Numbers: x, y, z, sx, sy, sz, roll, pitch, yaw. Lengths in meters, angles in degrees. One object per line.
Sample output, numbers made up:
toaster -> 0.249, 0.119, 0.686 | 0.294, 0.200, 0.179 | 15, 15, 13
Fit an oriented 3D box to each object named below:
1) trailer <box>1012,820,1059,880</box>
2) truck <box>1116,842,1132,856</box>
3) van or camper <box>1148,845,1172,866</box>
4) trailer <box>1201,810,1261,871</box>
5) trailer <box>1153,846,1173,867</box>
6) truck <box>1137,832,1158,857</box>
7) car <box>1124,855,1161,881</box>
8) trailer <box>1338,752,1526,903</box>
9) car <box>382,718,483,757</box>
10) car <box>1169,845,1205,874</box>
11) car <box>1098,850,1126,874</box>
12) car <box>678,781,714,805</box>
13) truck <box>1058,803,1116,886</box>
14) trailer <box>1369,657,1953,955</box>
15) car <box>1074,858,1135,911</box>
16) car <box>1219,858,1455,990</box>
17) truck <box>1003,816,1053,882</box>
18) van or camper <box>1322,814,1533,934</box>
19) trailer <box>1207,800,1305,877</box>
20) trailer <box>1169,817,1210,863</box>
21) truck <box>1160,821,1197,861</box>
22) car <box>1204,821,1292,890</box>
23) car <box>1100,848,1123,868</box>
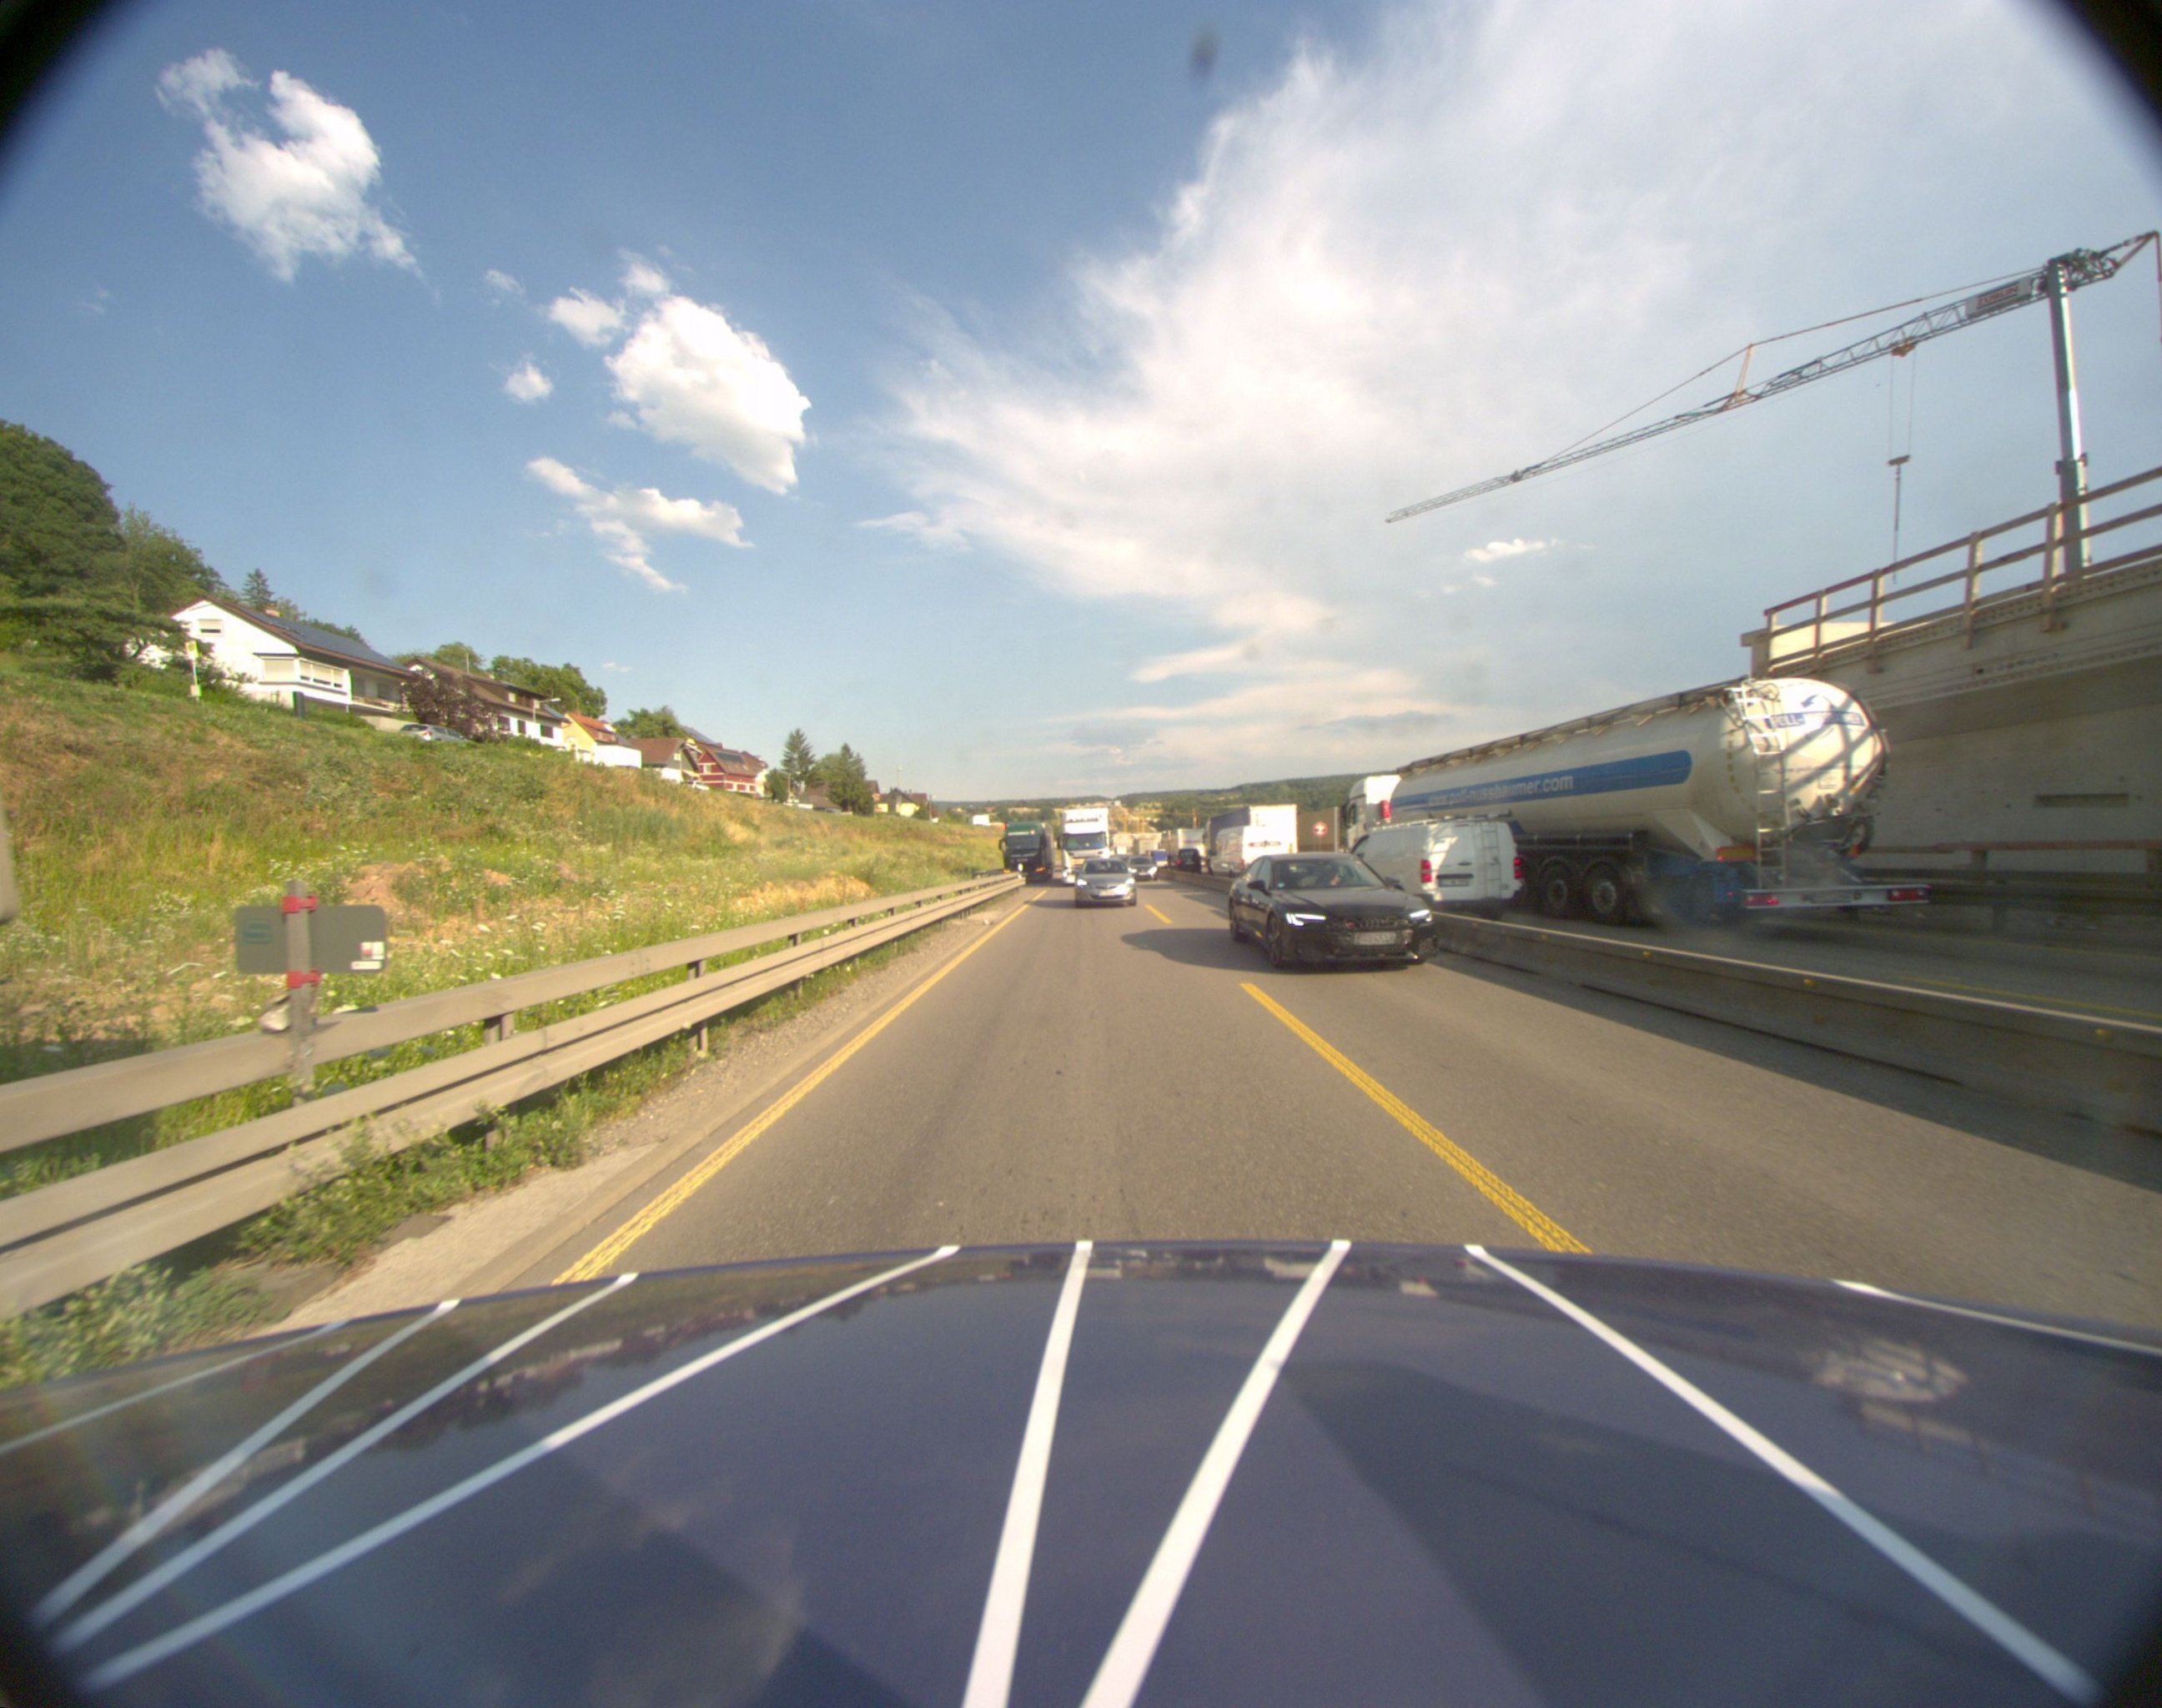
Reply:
trailer -> -3.240, -0.282, 57.096 | 2.554, 3.911, 12.078 | -2, 0, 1
truck -> 12.356, -1.452, 219.671 | 3.876, 3.766, 9.142 | -2, 0, 1
van or camper -> 7.698, 0.149, 74.421 | 1.868, 1.881, 5.003 | -2, 0, 1
trailer -> 10.614, -0.920, 54.392 | 2.933, 4.013, 6.222 | -2, 0, 0
trailer -> 7.579, 0.175, 70.398 | 1.452, 1.843, 2.984 | -2, 0, 1
truck -> 11.272, -1.571, 129.983 | 2.873, 4.038, 7.598 | -2, 0, 1
car -> 3.464, 0.770, 43.693 | 1.692, 1.293, 3.883 | -2, 0, -1
trailer -> 10.236, -0.697, 23.029 | 2.659, 3.828, 6.429 | -2, 0, 1
car -> -35.213, -6.280, 41.403 | 1.998, 1.433, 4.000 | -2, 0, 0
car -> 7.242, 0.323, 52.245 | 1.785, 1.832, 4.853 | -2, 0, 0
car -> 2.364, 0.641, 58.511 | 1.998, 1.739, 4.000 | -1, 0, 1
car -> -39.028, -6.152, 77.182 | 2.000, 2.002, 3.997 | -2, 0, -8
truck -> 0.405, -0.500, 44.429 | 2.741, 4.033, 12.670 | -2, 0, 1
trailer -> 10.207, -0.664, 16.753 | 2.659, 3.828, 13.442 | -2, 0, 1
car -> 0.658, 0.870, 23.003 | 1.671, 1.425, 3.524 | -1, 0, 0
car -> 3.299, 0.803, 10.772 | 1.873, 1.411, 4.349 | -2, 0, 0
truck -> -3.359, -0.330, 49.702 | 2.547, 3.992, 6.071 | -2, 0, 1
van or camper -> 6.865, 0.334, 15.846 | 1.863, 2.002, 5.295 | -2, 0, -1
trailer -> 10.570, -0.884, 47.689 | 2.933, 4.013, 13.773 | -2, 0, 1
trailer -> 10.794, -1.383, 76.709 | 2.834, 4.258, 8.735 | -2, 0, 1
truck -> 10.897, -1.414, 86.102 | 2.834, 4.239, 10.072 | -2, 0, 1
car -> 7.067, 0.046, 33.146 | 1.999, 2.607, 7.409 | -2, 0, -1
car -> 2.846, 0.398, 71.536 | 1.918, 1.746, 4.000 | -1, -1, -1
